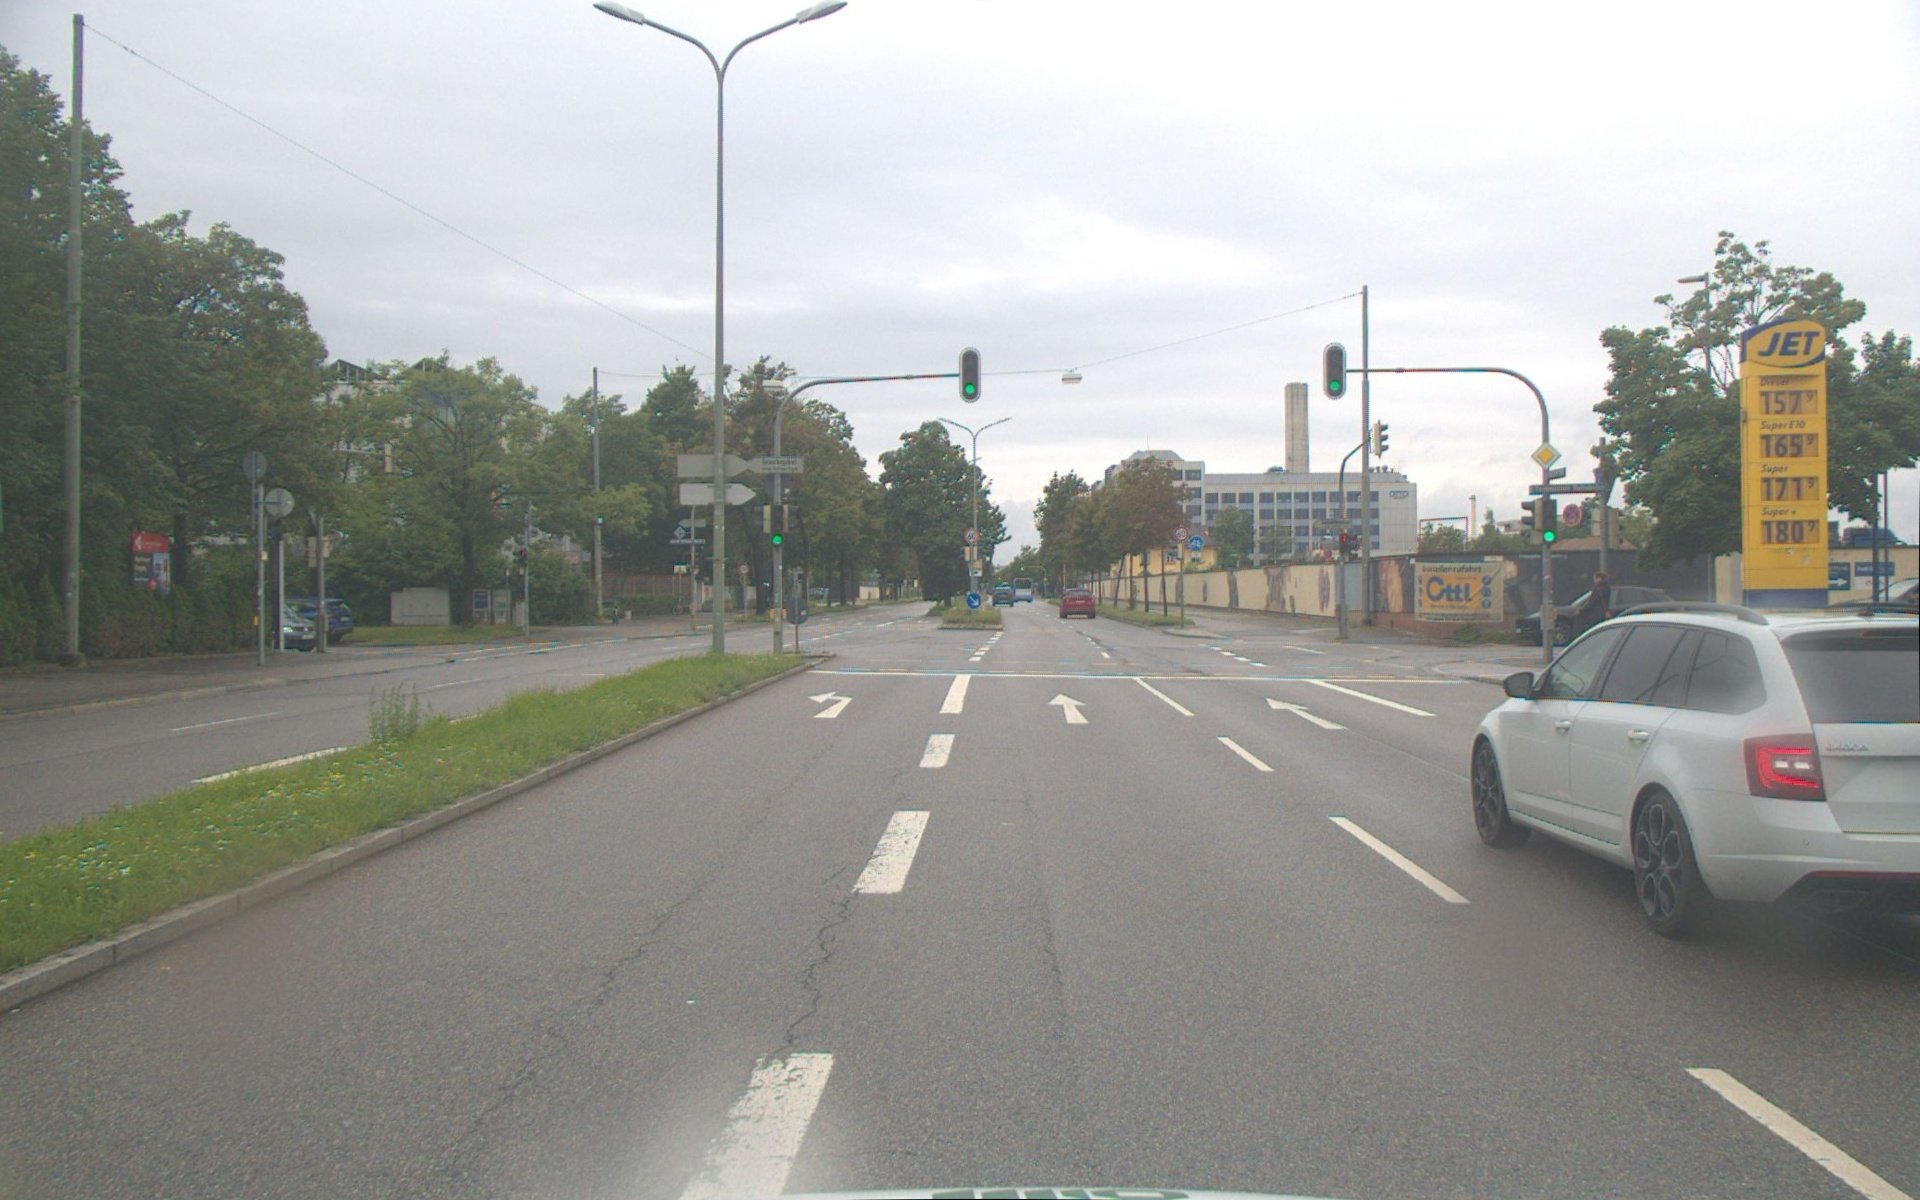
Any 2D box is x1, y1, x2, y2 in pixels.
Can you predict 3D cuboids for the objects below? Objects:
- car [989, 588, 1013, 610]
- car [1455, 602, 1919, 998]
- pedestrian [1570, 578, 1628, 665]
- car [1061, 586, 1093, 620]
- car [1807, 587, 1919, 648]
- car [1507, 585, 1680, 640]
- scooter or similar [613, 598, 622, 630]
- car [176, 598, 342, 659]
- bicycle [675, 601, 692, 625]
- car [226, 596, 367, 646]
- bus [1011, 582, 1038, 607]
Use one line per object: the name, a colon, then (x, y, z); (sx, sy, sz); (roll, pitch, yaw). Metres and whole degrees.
car: (3.580, -0.056, 145.535); (2.041, 1.898, 4.386); (1, 0, 0)
car: (4.116, 0.770, 8.549); (1.839, 1.493, 4.502); (1, 0, 1)
pedestrian: (12.502, 0.417, 32.383); (0.786, 1.643, 0.687); (-3, 0, 0)
car: (6.287, 0.158, 89.123); (1.453, 1.745, 3.551); (1, 0, 0)
car: (25.442, 0.430, 44.245); (4.521, 1.559, 2.001); (-1, 0, 4)
car: (17.863, 0.352, 46.813); (4.161, 1.453, 2.001); (-1, 0, 4)
scooter or similar: (-15.694, 0.637, 75.802); (0.364, 1.449, 1.400); (1, 0, -14)
car: (-21.417, 0.877, 50.505); (4.679, 1.753, 1.999); (-1, -1, 24)
bicycle: (-15.899, 0.740, 95.146); (0.570, 1.318, 2.454); (1, 0, -1)
car: (-23.608, 0.752, 58.902); (4.177, 1.602, 2.002); (-1, 2, 10)
bus: (8.480, -0.757, 219.379); (3.155, 3.181, 10.344); (1, 0, 0)
